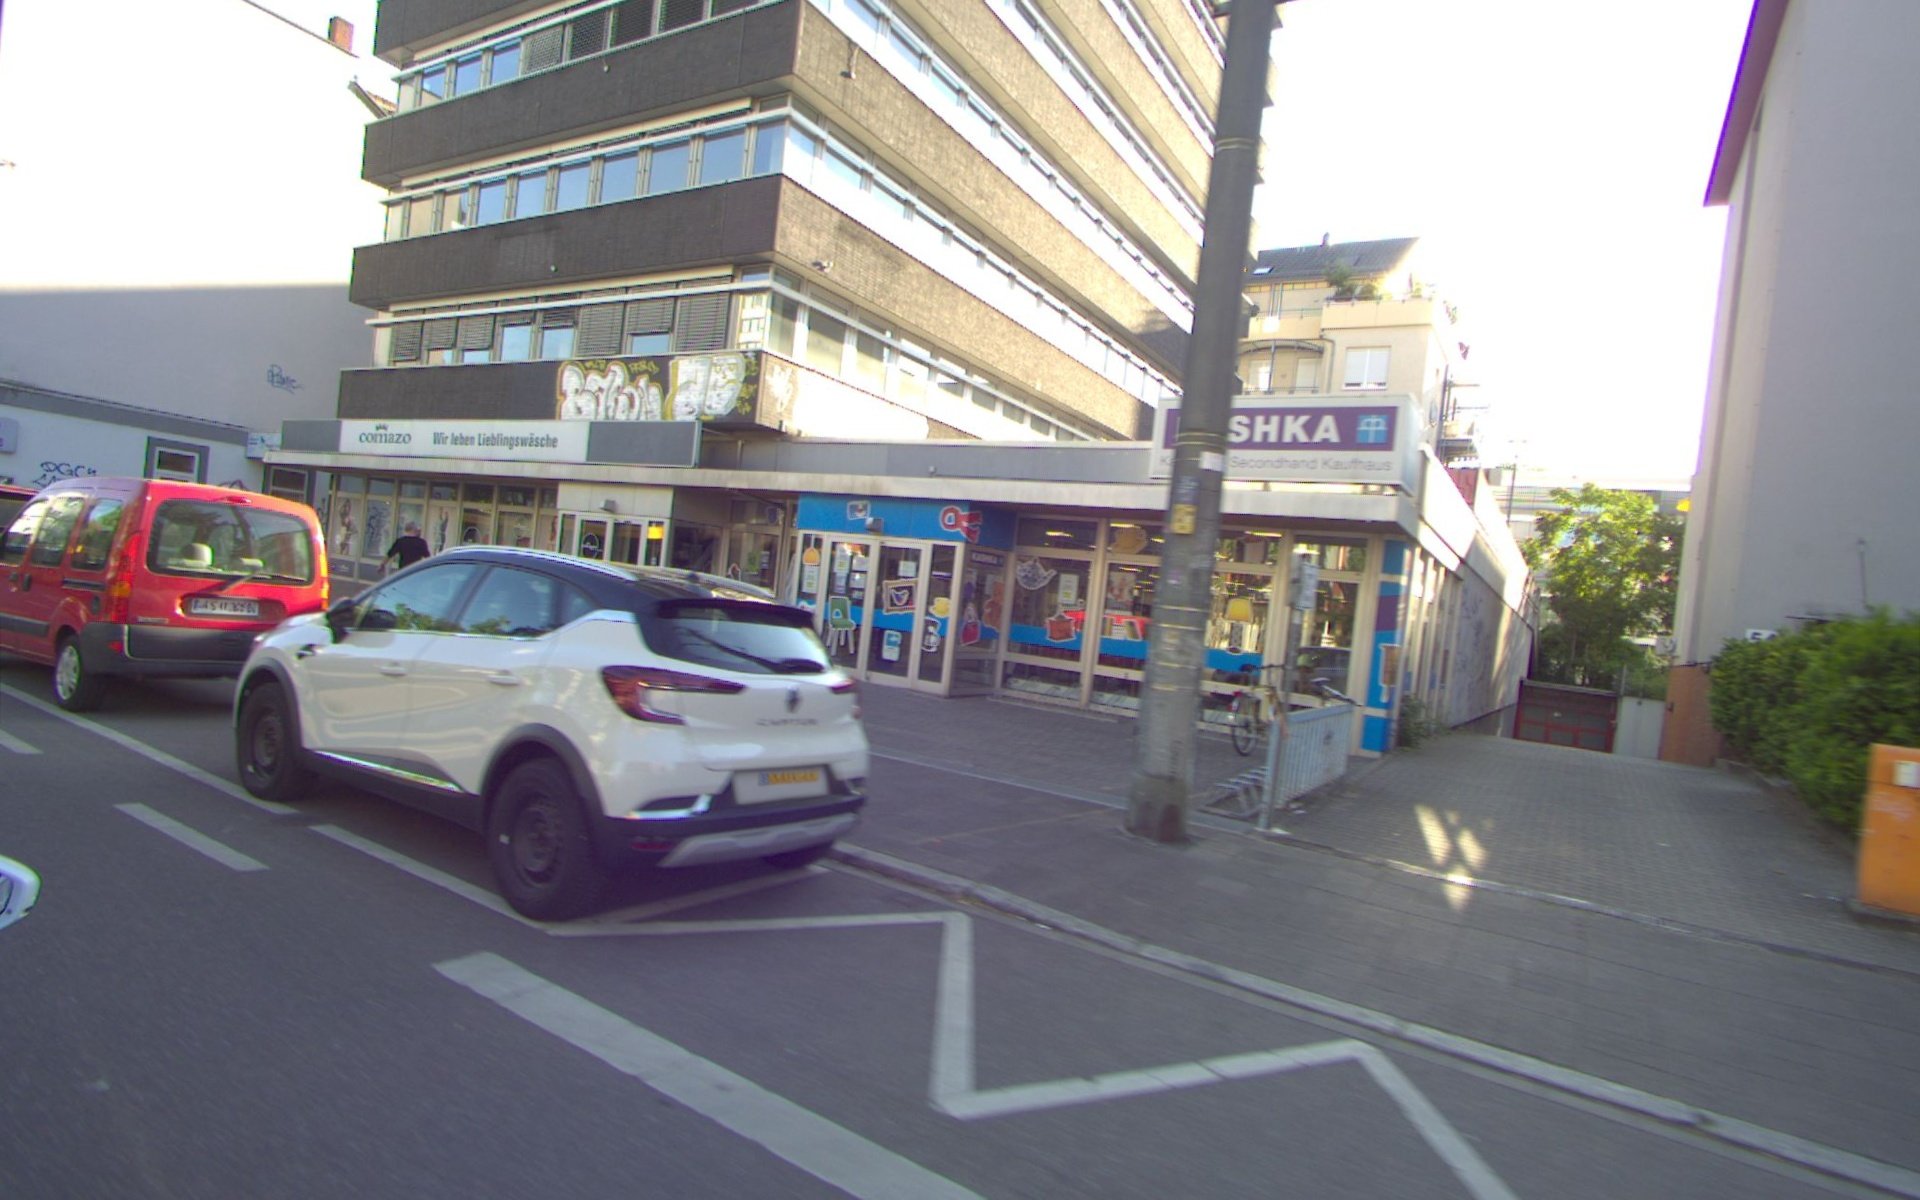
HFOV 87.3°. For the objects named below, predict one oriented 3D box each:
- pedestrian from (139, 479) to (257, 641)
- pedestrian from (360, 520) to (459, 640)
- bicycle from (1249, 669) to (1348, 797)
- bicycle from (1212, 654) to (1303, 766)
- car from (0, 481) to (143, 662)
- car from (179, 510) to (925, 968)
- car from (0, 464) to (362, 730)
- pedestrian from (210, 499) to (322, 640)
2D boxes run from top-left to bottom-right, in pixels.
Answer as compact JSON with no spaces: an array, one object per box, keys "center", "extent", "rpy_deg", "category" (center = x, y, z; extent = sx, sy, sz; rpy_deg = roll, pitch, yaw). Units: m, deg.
[{"center":[-9.741,-0.505,12.866],"extent":[1.016,1.924,0.794],"rpy_deg":[7,2,32],"category":"pedestrian"},{"center":[-8.542,-0.311,15.610],"extent":[1.016,1.737,0.900],"rpy_deg":[7,4,32],"category":"pedestrian"},{"center":[3.444,1.282,10.127],"extent":[0.461,1.110,1.883],"rpy_deg":[7,1,30],"category":"bicycle"},{"center":[3.642,1.277,12.192],"extent":[0.626,1.110,2.017],"rpy_deg":[8,2,25],"category":"bicycle"},{"center":[-11.347,-0.505,11.405],"extent":[4.401,1.779,1.823],"rpy_deg":[7,0,32],"category":"car"},{"center":[-2.518,0.499,5.804],"extent":[4.257,1.615,1.788],"rpy_deg":[6,0,34],"category":"car"},{"center":[-7.355,-0.121,8.907],"extent":[4.178,1.830,1.677],"rpy_deg":[6,0,32],"category":"car"},{"center":[-9.455,-0.411,13.705],"extent":[1.016,1.780,0.811],"rpy_deg":[7,2,32],"category":"pedestrian"}]
